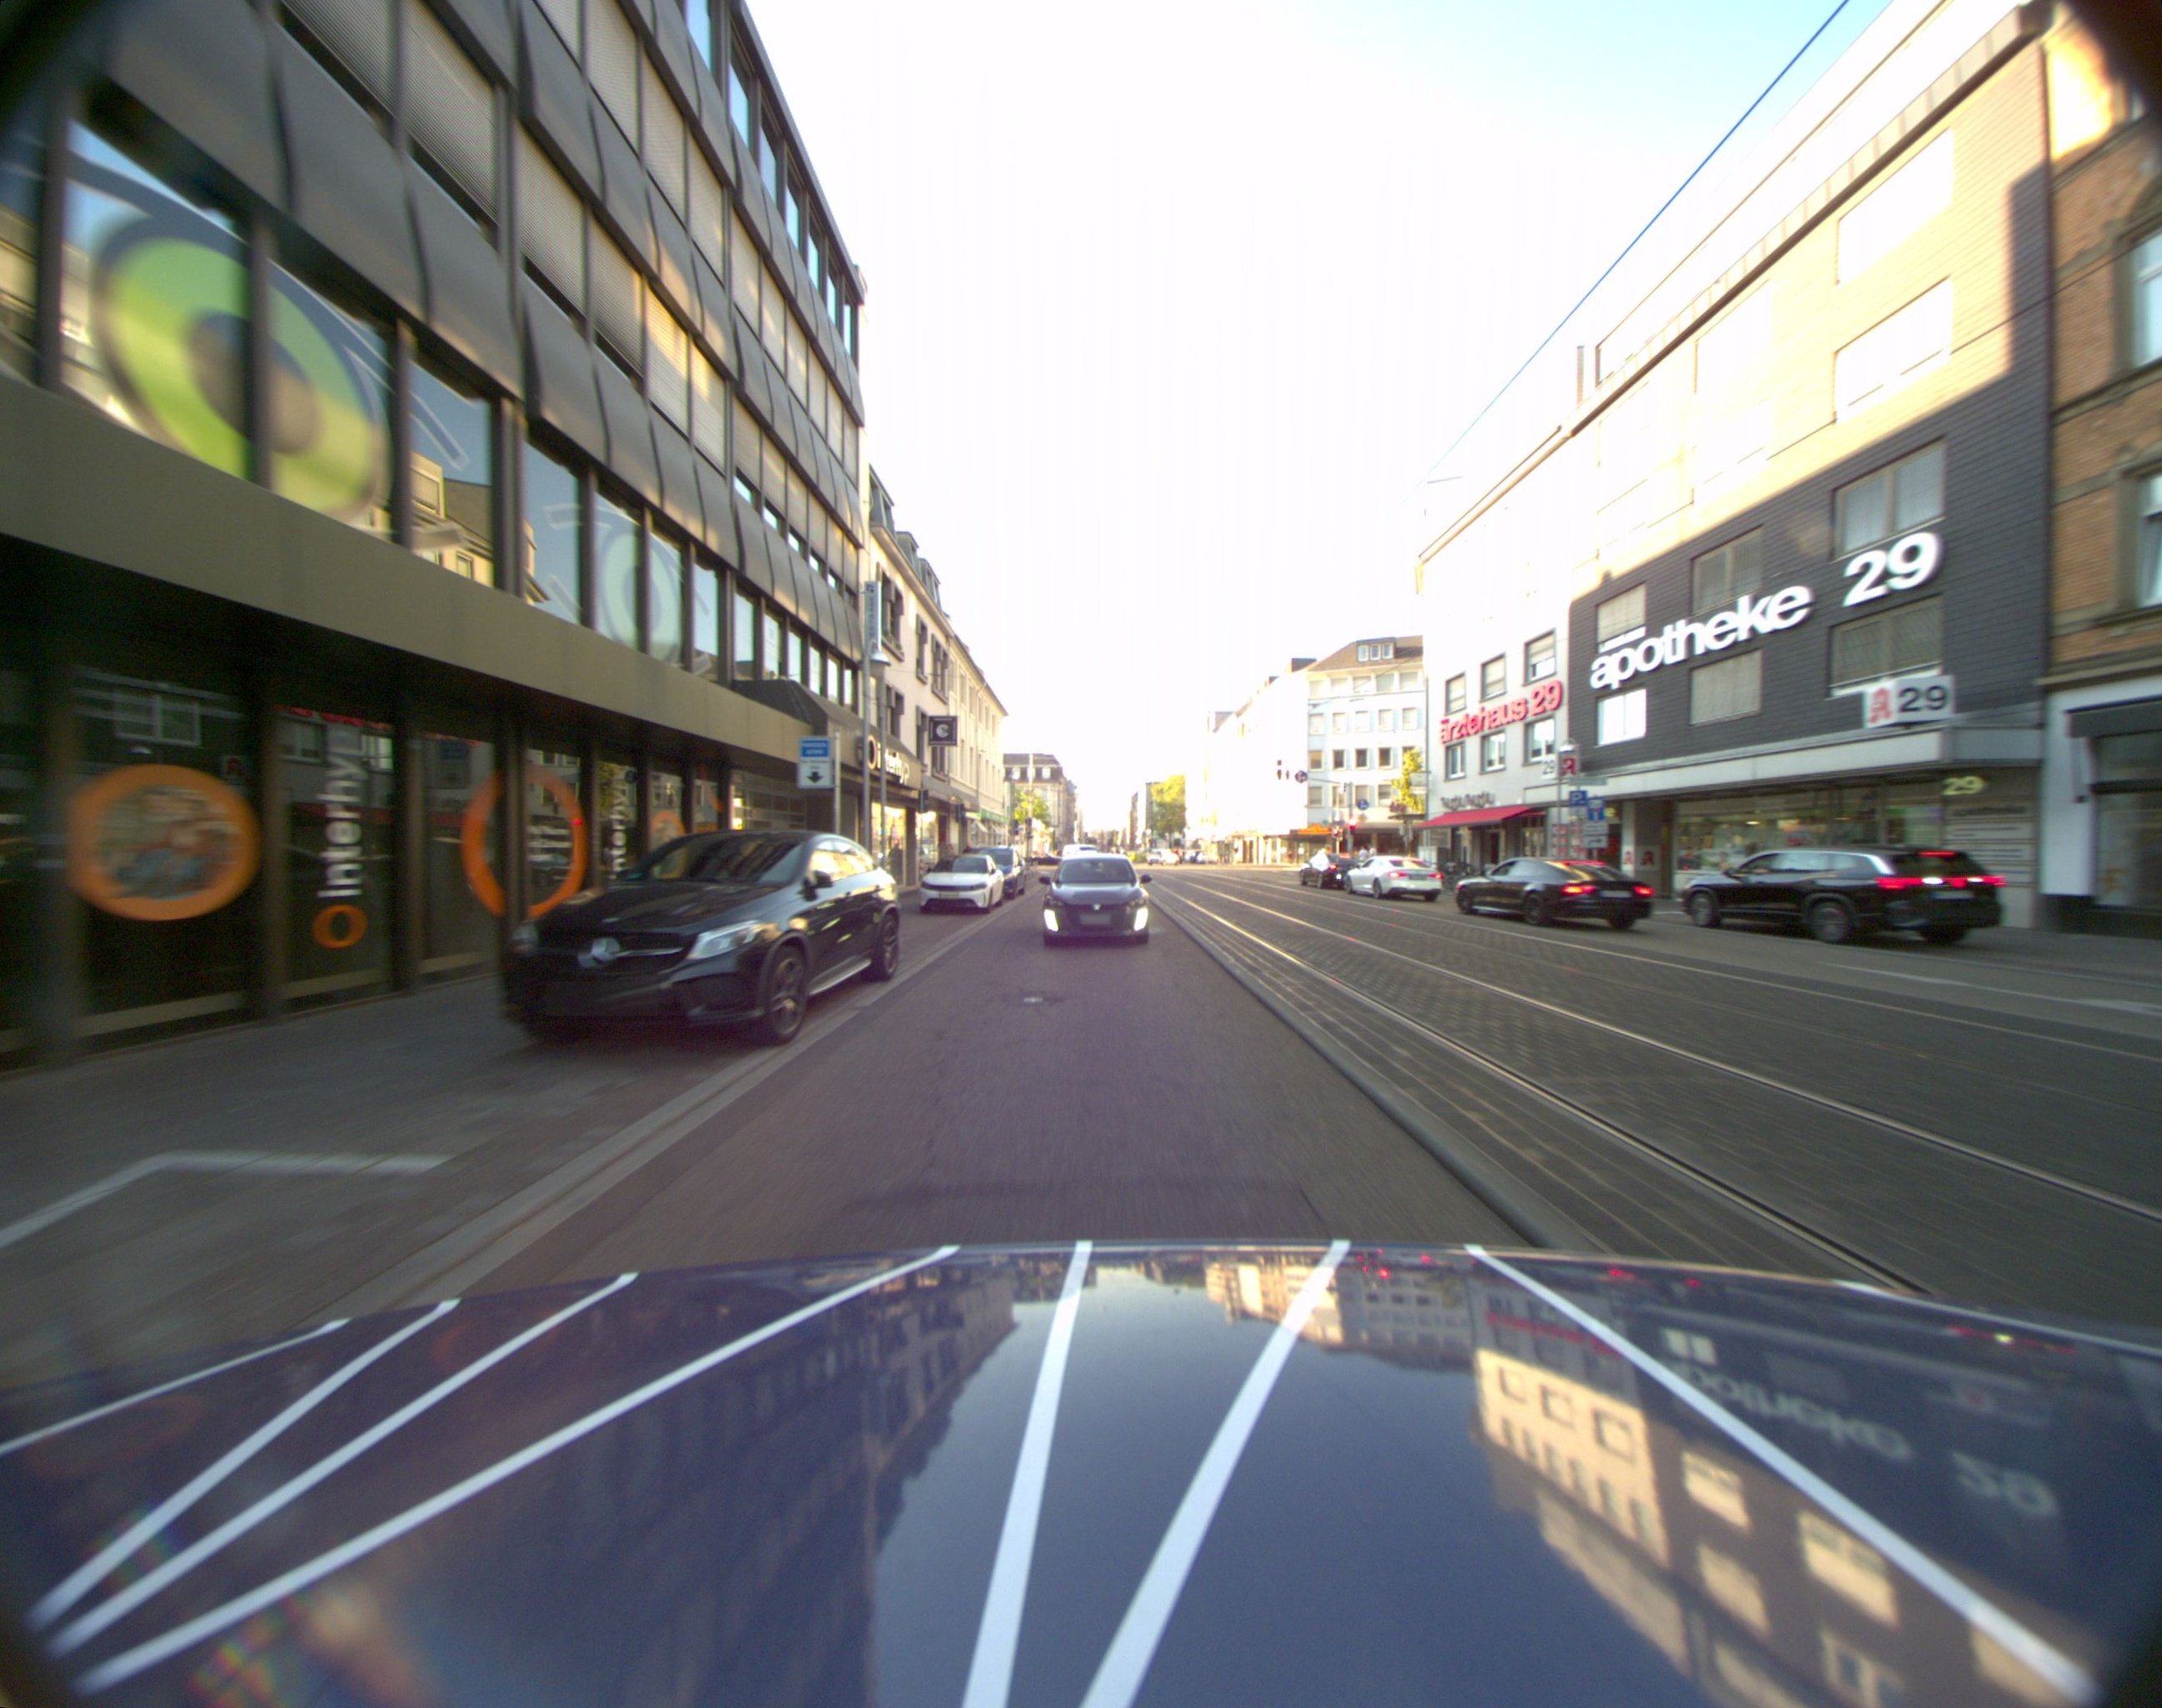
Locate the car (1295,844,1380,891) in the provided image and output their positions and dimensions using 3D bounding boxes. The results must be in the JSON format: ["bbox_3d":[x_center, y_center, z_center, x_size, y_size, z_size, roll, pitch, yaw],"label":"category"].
[{"bbox_3d":[10.398,0.475,31.229,1.998,1.717,4.727,2,1,2],"label":"car"}]

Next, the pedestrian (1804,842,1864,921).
[{"bbox_3d":[16.151,0.585,16.313,0.684,1.651,0.624,-1,1,1],"label":"pedestrian"}]

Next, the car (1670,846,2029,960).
[{"bbox_3d":[13.246,0.710,13.649,1.935,1.665,4.646,-1,1,3],"label":"car"}]

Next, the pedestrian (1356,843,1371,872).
[{"bbox_3d":[17.135,0.181,46.078,0.638,1.734,0.668,-1,1,-10],"label":"pedestrian"}]

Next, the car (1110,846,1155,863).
[{"bbox_3d":[4.225,0.048,62.509,3.490,1.326,1.597,0,1,-7],"label":"car"}]

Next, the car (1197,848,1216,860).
[{"bbox_3d":[14.167,-0.002,86.038,1.636,1.246,3.389,-3,0,1],"label":"car"}]

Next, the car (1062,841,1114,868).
[{"bbox_3d":[0.437,0.006,52.936,1.831,1.787,4.274,-1,1,-28],"label":"car"}]

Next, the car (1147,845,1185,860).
[{"bbox_3d":[8.095,-0.169,72.371,1.714,1.463,3.993,1,1,38],"label":"car"}]

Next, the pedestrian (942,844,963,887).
[{"bbox_3d":[-5.134,0.448,30.336,0.651,1.708,0.678,2,1,2],"label":"pedestrian"}]

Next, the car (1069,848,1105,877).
[{"bbox_3d":[0.312,0.438,40.787,1.827,1.463,3.984,0,1,0],"label":"car"}]

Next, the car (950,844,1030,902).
[{"bbox_3d":[-2.934,0.560,25.557,1.998,1.717,4.576,1,1,1],"label":"car"}]

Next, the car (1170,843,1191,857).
[{"bbox_3d":[11.590,-0.481,88.811,1.827,1.688,4.259,0,1,0],"label":"car"}]

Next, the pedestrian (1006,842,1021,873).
[{"bbox_3d":[-3.962,0.194,44.692,0.739,1.818,0.850,1,1,-1],"label":"pedestrian"}]

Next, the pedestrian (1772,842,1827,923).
[{"bbox_3d":[15.449,0.602,16.342,0.622,1.689,0.602,-1,1,1],"label":"pedestrian"}]

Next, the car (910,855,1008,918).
[{"bbox_3d":[-3.024,0.770,19.607,1.800,1.424,3.887,0,0,2],"label":"car"}]

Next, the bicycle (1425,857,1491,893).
[{"bbox_3d":[13.937,0.774,28.096,2.117,1.217,0.553,-2,1,1],"label":"bicycle"}]

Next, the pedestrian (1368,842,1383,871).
[{"bbox_3d":[17.871,0.165,46.144,0.638,1.769,0.600,-1,1,-8],"label":"pedestrian"}]

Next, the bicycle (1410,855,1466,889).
[{"bbox_3d":[13.936,0.697,29.668,1.895,1.204,0.553,-2,1,1],"label":"bicycle"}]

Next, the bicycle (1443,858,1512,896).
[{"bbox_3d":[13.862,0.795,26.592,2.117,1.217,0.553,-2,1,1],"label":"bicycle"}]

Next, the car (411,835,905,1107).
[{"bbox_3d":[-3.239,0.718,7.147,1.998,1.717,4.565,1,1,1],"label":"car"}]

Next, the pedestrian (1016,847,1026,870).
[{"bbox_3d":[-4.441,0.335,56.246,0.694,1.732,0.653,0,1,-5],"label":"pedestrian"}]

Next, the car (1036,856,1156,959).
[{"bbox_3d":[0.263,0.809,13.292,1.751,1.434,3.905,-2,1,1],"label":"car"}]

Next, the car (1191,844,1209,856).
[{"bbox_3d":[14.150,-0.422,90.460,1.636,1.346,3.389,-3,0,1],"label":"car"}]

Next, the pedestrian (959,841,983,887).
[{"bbox_3d":[-4.483,0.396,30.942,0.768,1.795,0.928,1,1,3],"label":"pedestrian"}]

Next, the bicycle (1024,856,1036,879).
[{"bbox_3d":[-2.596,0.685,38.998,0.535,1.140,1.490,0,1,-1],"label":"bicycle"}]

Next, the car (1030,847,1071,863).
[{"bbox_3d":[-2.632,0.064,65.967,3.488,1.326,1.597,0,1,-2],"label":"car"}]

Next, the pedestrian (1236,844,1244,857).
[{"bbox_3d":[17.825,-0.401,85.069,0.544,1.463,0.624,-4,1,-15],"label":"pedestrian"}]

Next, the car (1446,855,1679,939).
[{"bbox_3d":[9.909,0.784,16.213,1.998,1.444,4.648,1,1,0],"label":"car"}]

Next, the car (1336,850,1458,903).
[{"bbox_3d":[10.220,0.669,25.018,1.999,1.444,4.655,2,1,0],"label":"car"}]

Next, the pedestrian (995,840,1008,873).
[{"bbox_3d":[-4.698,0.122,44.772,0.663,1.917,0.879,1,1,0],"label":"pedestrian"}]
